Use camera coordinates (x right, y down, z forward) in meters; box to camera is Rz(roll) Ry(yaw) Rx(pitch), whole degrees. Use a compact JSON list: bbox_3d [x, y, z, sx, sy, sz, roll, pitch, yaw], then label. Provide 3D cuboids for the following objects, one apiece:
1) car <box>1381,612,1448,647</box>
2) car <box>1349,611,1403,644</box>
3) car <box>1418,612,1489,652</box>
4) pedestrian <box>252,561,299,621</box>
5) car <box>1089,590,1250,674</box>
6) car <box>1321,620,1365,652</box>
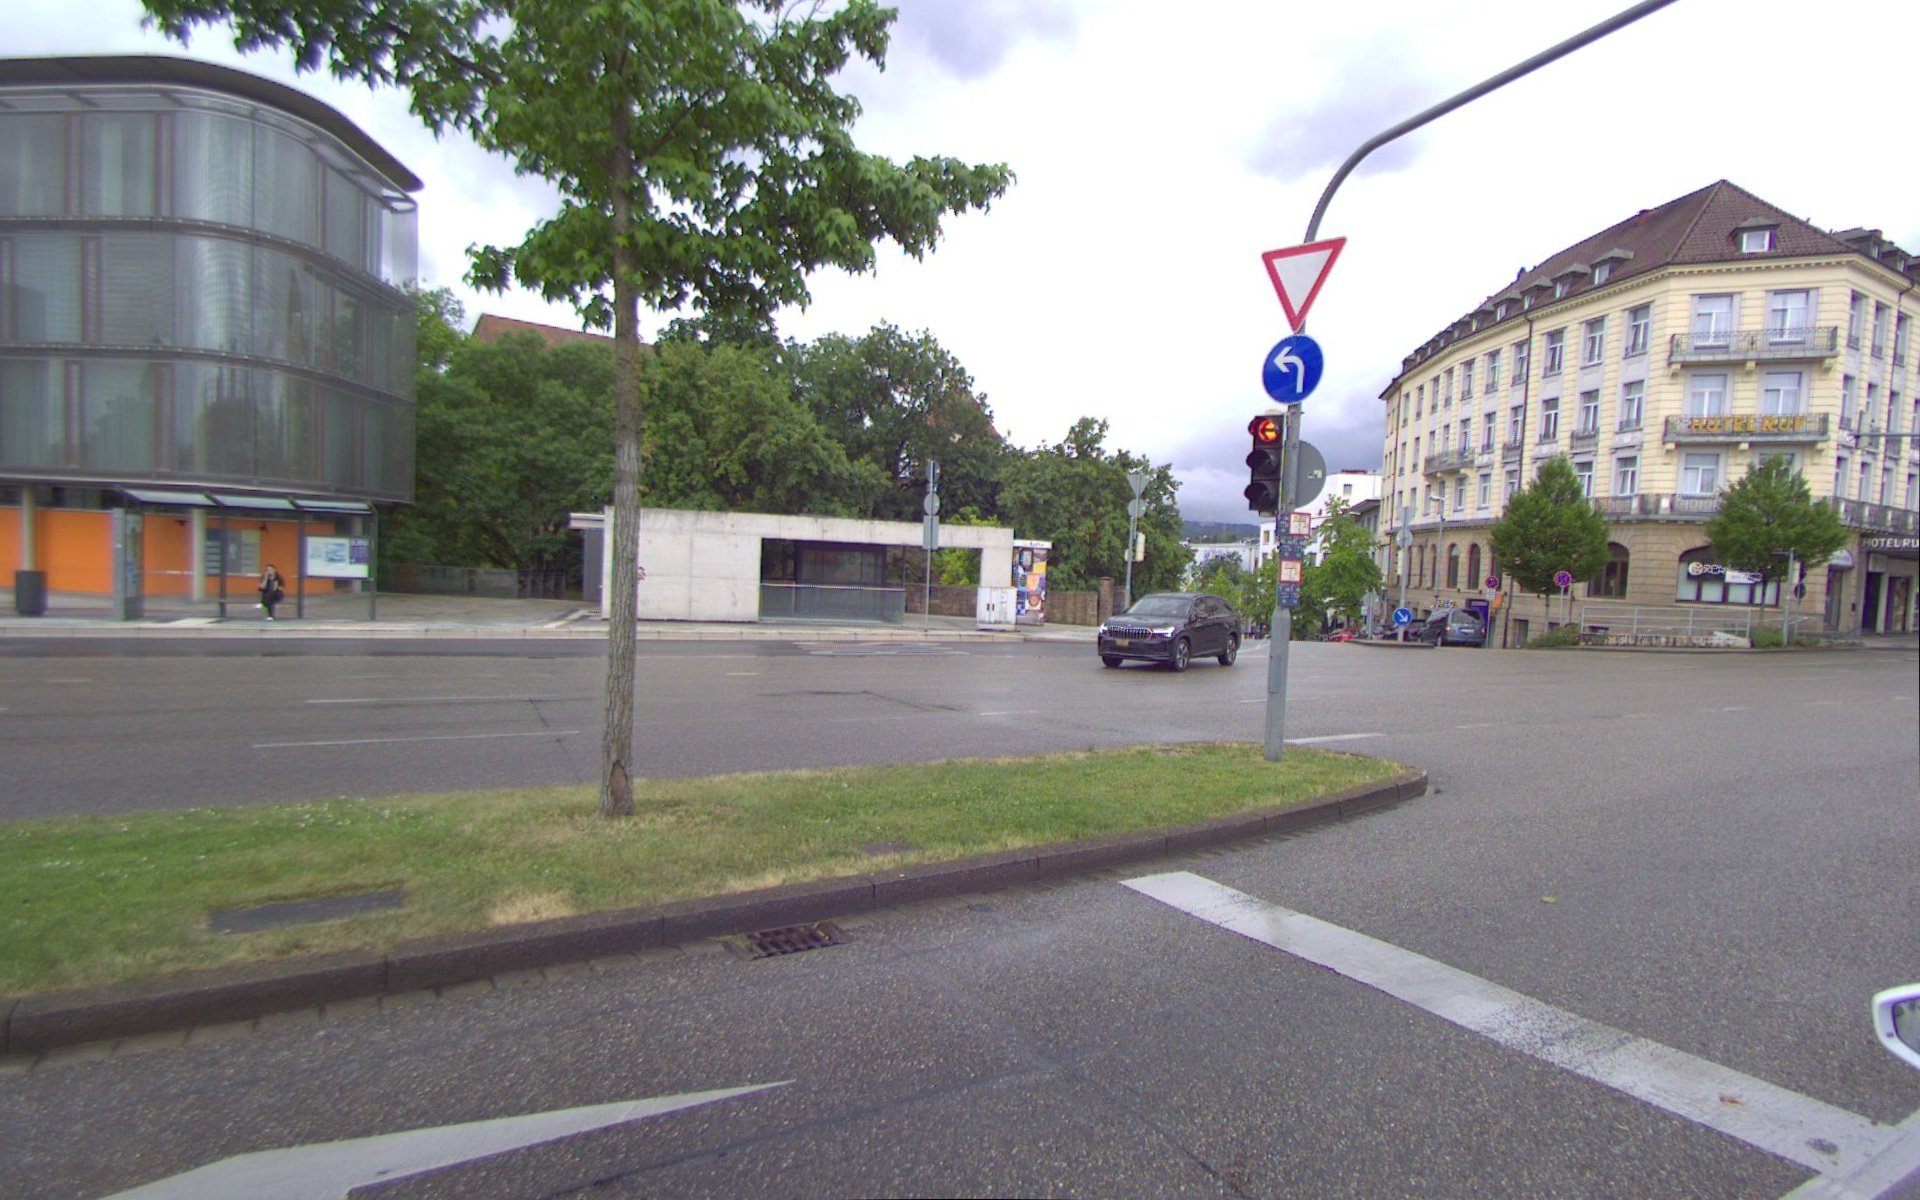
[{"bbox_3d":[23.481,1.517,52.087,1.959,1.662,4.002,2,0,6],"label":"car"},{"bbox_3d":[23.732,1.556,57.386,1.757,1.662,3.916,2,1,6],"label":"car"},{"bbox_3d":[22.313,1.399,45.579,1.764,1.590,4.002,2,1,9],"label":"car"},{"bbox_3d":[-15.492,-0.201,22.737,0.780,1.341,0.798,1,1,-29],"label":"pedestrian"},{"bbox_3d":[4.846,0.661,22.744,1.798,1.662,4.583,2,1,36],"label":"car"},{"bbox_3d":[24.153,2.241,63.442,1.741,1.836,3.624,2,1,7],"label":"car"}]
